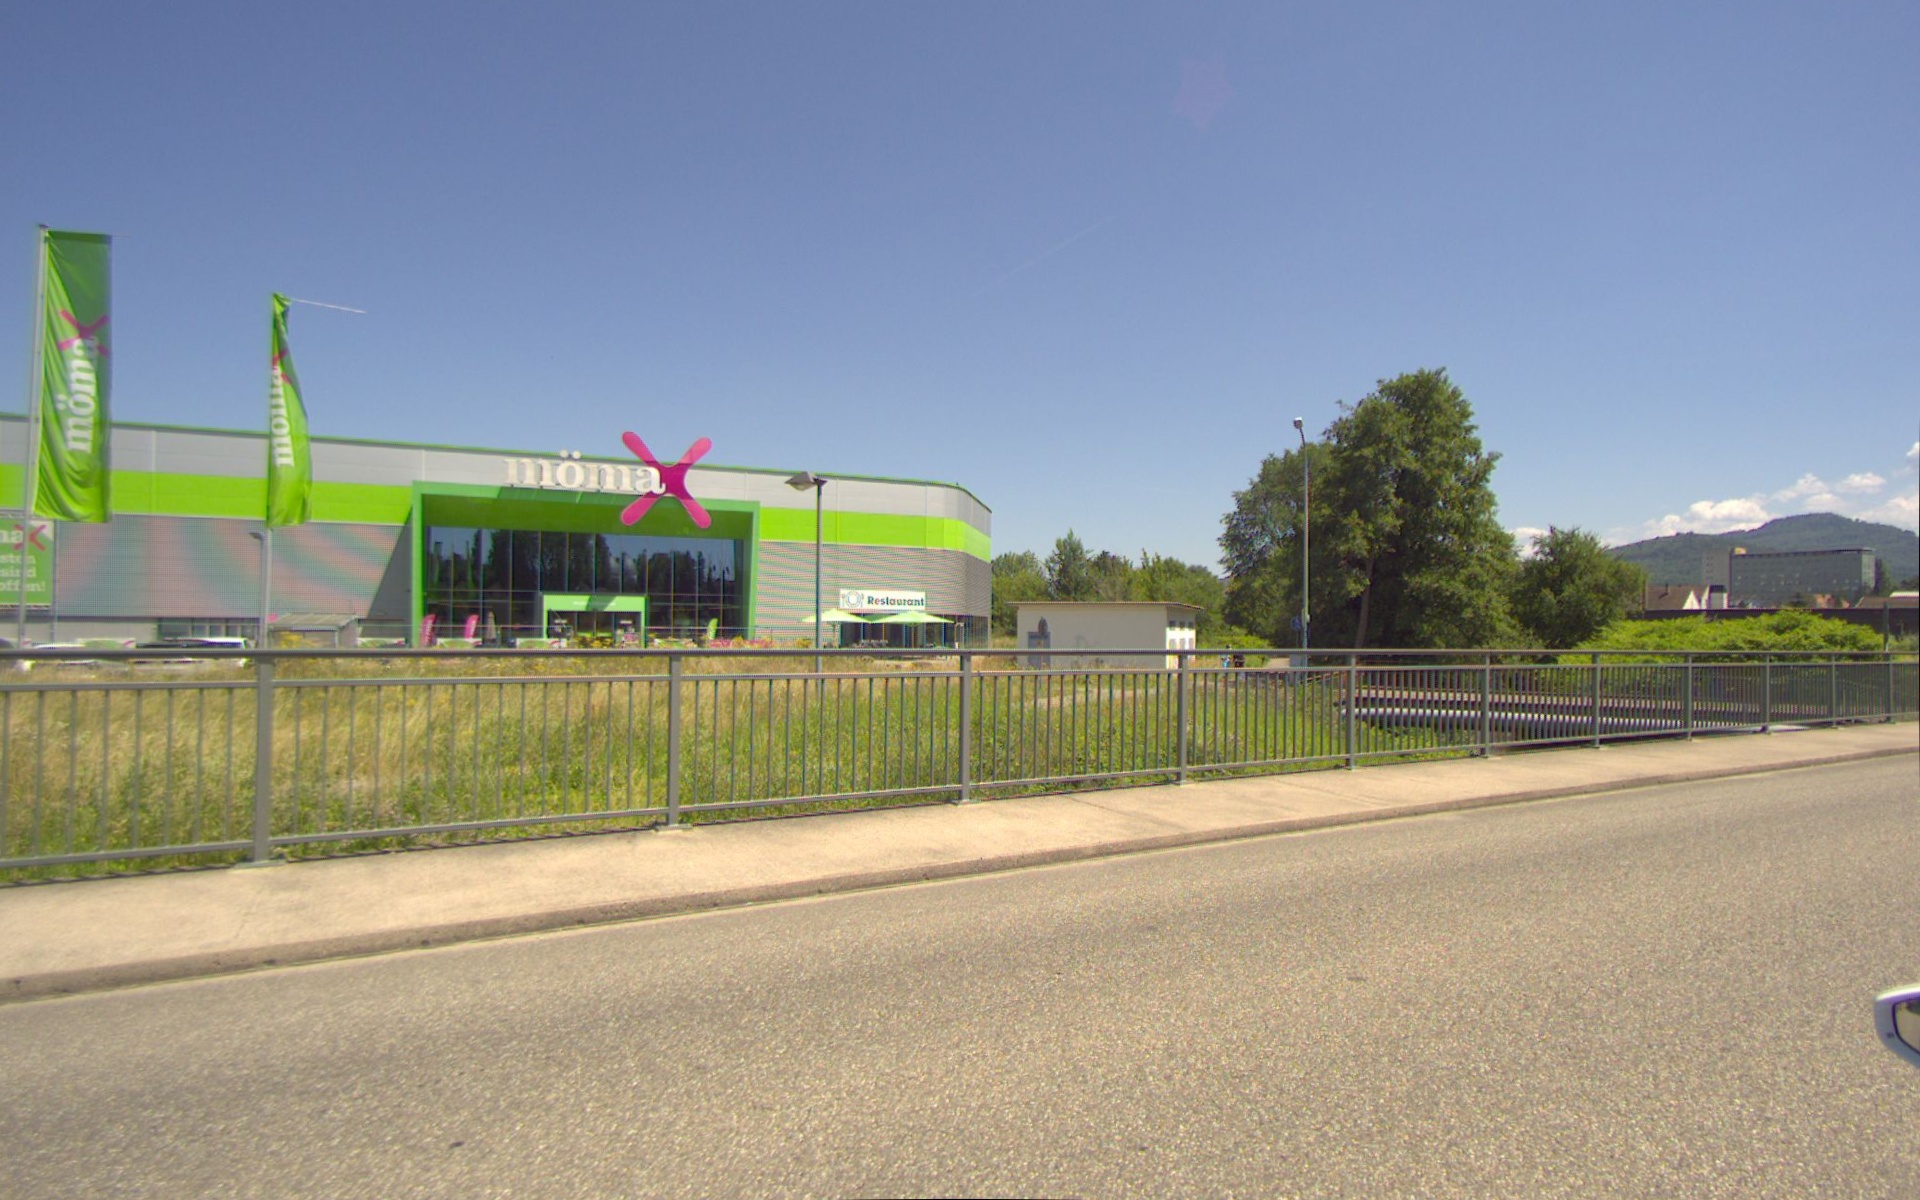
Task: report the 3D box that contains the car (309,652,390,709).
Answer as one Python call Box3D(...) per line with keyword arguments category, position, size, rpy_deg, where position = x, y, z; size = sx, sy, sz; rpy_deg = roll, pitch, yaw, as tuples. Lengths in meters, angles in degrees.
Box3D(category="car", position=(-20.516, 2.646, 33.903), size=(1.974, 1.533, 3.973), rpy_deg=(0, 1, -26))

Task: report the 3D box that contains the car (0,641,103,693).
Box3D(category="car", position=(-32.352, 2.333, 35.677), size=(1.974, 1.533, 3.973), rpy_deg=(0, 1, -26))

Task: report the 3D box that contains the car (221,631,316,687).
Box3D(category="car", position=(-22.509, 1.858, 32.871), size=(1.974, 1.533, 3.973), rpy_deg=(0, 1, -26))

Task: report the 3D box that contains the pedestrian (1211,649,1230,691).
Box3D(category="pedestrian", position=(10.875, 2.898, 41.933), size=(0.507, 1.696, 0.626), rpy_deg=(3, 0, 38))

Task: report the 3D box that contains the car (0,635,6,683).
Box3D(category="car", position=(-30.063, 1.862, 29.388), size=(1.974, 1.463, 3.973), rpy_deg=(0, 1, -26))

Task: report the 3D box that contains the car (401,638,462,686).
Box3D(category="car", position=(-20.569, 2.373, 39.220), size=(1.974, 1.533, 3.973), rpy_deg=(0, 1, -26))

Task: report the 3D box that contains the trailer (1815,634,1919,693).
Box3D(category="trailer", position=(34.505, 2.345, 38.216), size=(1.820, 2.040, 3.959), rpy_deg=(2, -1, 23))

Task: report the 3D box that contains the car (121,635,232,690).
Box3D(category="car", position=(-24.647, 1.908, 31.748), size=(1.974, 1.435, 3.973), rpy_deg=(0, 1, -26))

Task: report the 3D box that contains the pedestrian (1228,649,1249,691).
Box3D(category="pedestrian", position=(11.613, 2.927, 41.893), size=(0.619, 1.696, 0.595), rpy_deg=(3, 0, 39))

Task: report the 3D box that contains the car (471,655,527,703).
Box3D(category="car", position=(-18.587, 3.139, 40.436), size=(1.974, 1.533, 3.973), rpy_deg=(0, 1, -26))

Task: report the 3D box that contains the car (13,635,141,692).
Box3D(category="car", position=(-27.186, 1.897, 31.080), size=(1.974, 1.428, 3.973), rpy_deg=(0, 1, -26))
